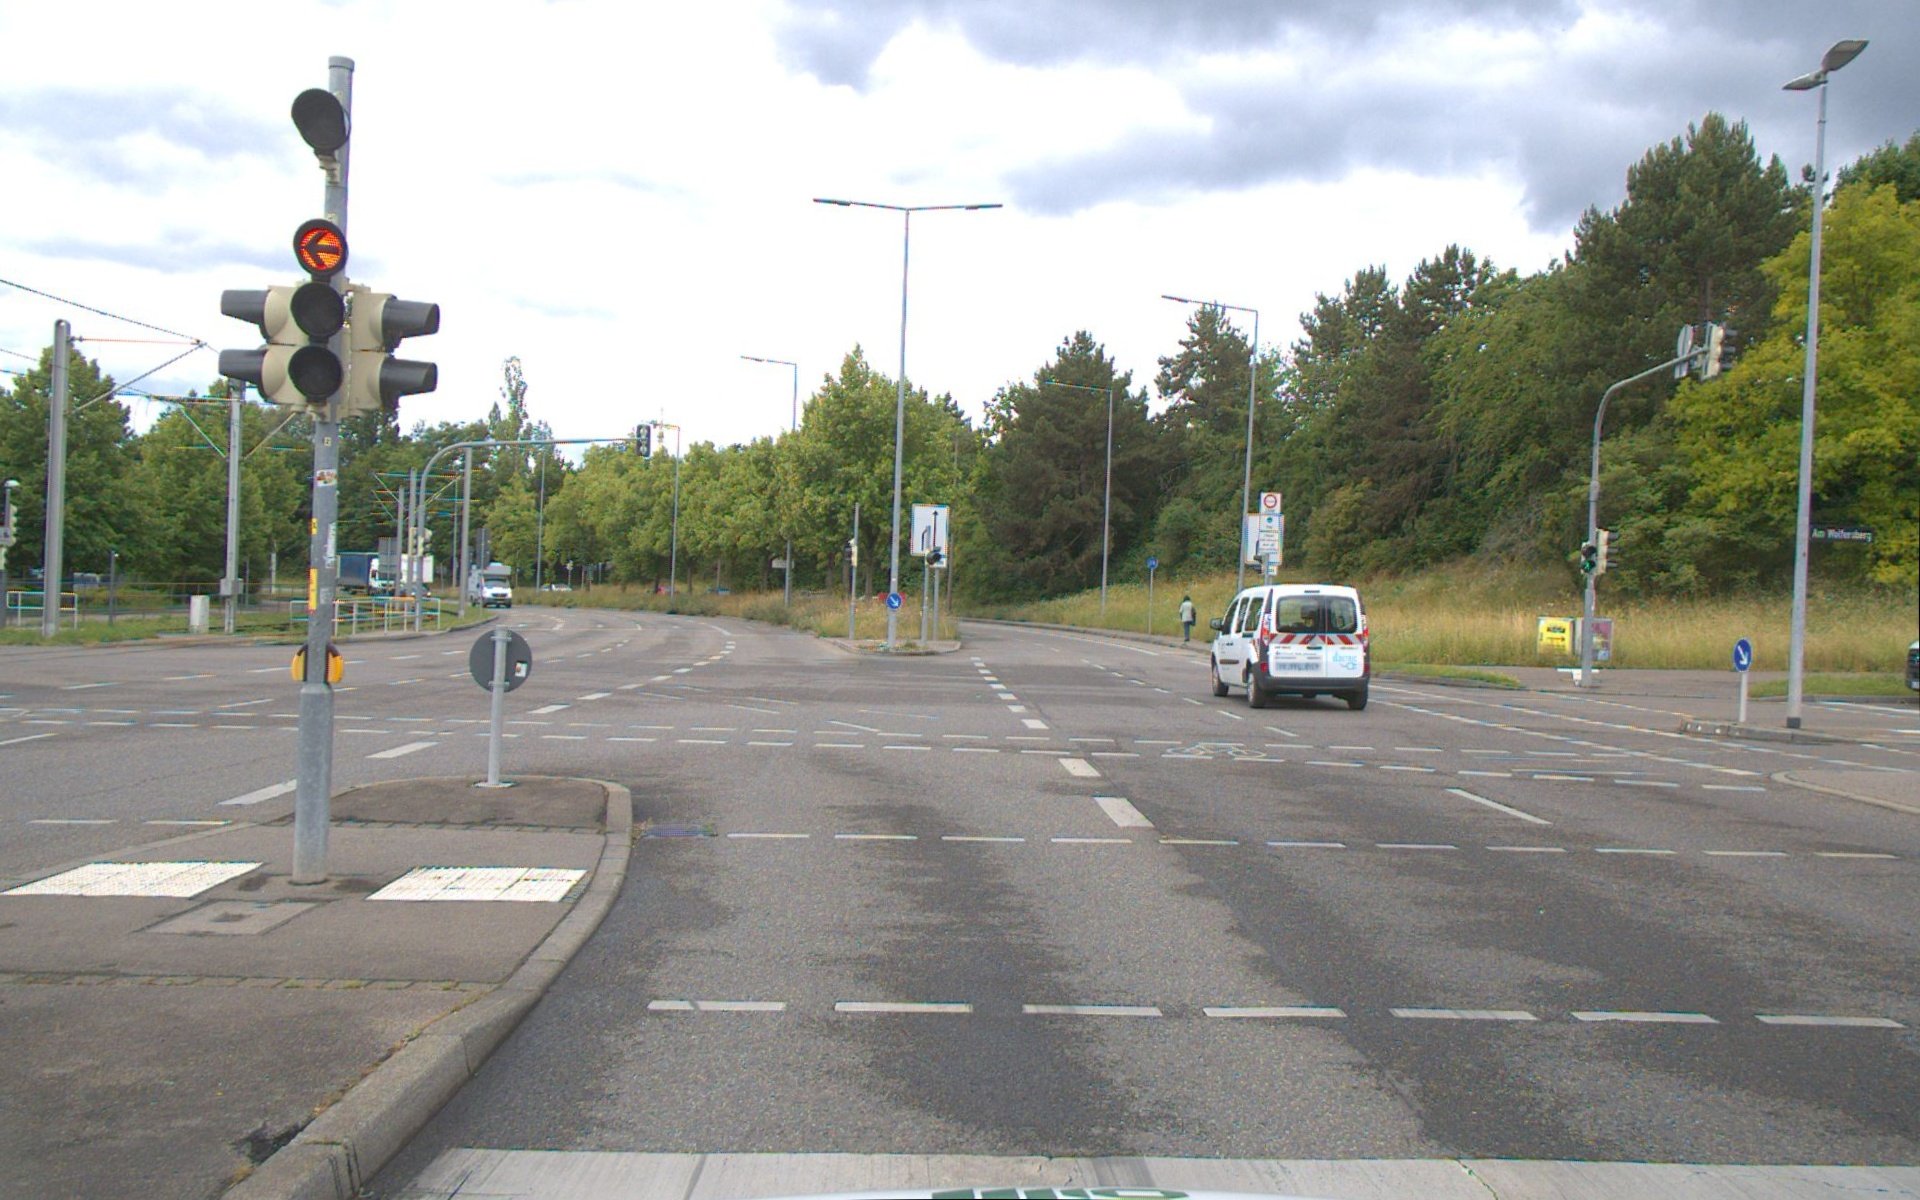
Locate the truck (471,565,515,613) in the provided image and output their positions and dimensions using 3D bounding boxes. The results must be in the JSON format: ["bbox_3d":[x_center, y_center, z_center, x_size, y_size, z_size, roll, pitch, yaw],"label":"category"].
[{"bbox_3d":[-32.669,-0.755,115.574,2.088,3.190,5.856,1,0,-24],"label":"truck"}]

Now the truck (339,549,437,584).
[{"bbox_3d":[-56.946,-3.363,164.617,11.162,3.387,2.742,1,0,31],"label":"truck"}]

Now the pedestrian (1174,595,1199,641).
[{"bbox_3d":[8.387,0.656,61.213,0.797,1.656,0.790,1,0,-1],"label":"pedestrian"}]

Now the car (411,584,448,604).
[{"bbox_3d":[-43.565,-0.540,135.766,1.764,1.471,4.477,-1,3,-33],"label":"car"}]

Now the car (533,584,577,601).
[{"bbox_3d":[-36.193,-0.692,147.772,4.383,1.446,1.771,1,1,44],"label":"car"}]

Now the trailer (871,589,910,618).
[{"bbox_3d":[-4.144,0.183,98.237,1.735,1.644,3.032,1,0,-15],"label":"trailer"}]

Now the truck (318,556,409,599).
[{"bbox_3d":[-55.169,-2.066,152.750,3.035,3.826,12.605,1,0,-44],"label":"truck"}]

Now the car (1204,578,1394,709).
[{"bbox_3d":[5.160,0.633,25.836,1.953,1.833,4.838,0,0,0],"label":"car"}]

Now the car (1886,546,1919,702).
[{"bbox_3d":[20.334,0.464,30.090,5.772,2.830,2.135,0,0,-1],"label":"car"}]
